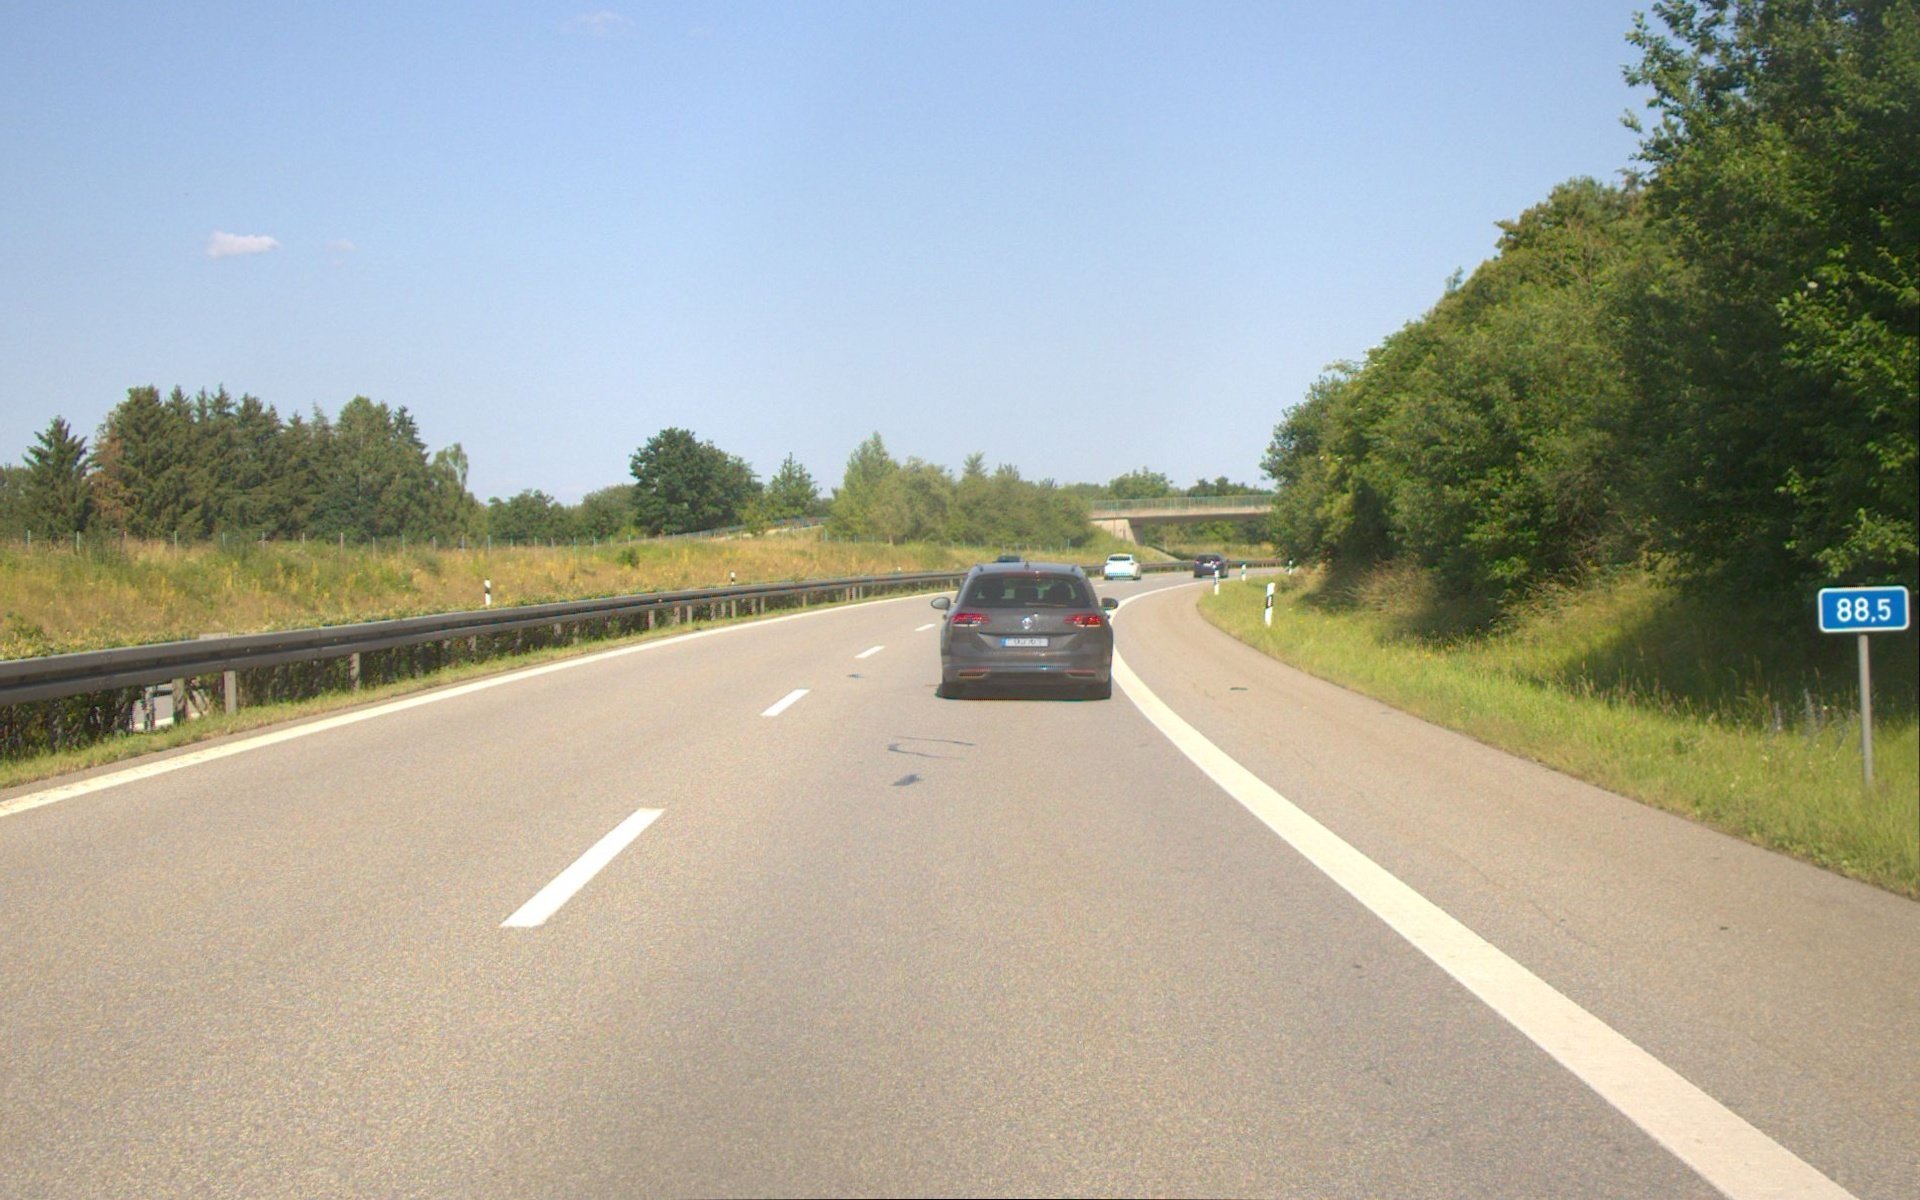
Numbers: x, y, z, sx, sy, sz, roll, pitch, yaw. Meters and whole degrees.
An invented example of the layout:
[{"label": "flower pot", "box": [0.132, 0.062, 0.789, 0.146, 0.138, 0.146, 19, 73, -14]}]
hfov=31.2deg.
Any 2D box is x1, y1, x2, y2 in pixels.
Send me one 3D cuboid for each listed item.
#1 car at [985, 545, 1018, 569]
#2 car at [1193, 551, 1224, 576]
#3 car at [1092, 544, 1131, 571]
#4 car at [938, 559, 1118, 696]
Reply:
[{"label": "car", "box": [2.763, -2.900, 229.526, 1.832, 1.547, 4.465, 0, 2, 6]}, {"label": "car", "box": [14.898, -2.204, 205.930, 1.711, 1.382, 3.354, 2, -1, 6]}, {"label": "car", "box": [8.324, -2.301, 188.209, 2.007, 1.340, 3.999, 2, -1, 4]}, {"label": "car", "box": [0.767, 0.293, 36.754, 1.791, 1.340, 3.999, 2, 0, 2]}]
